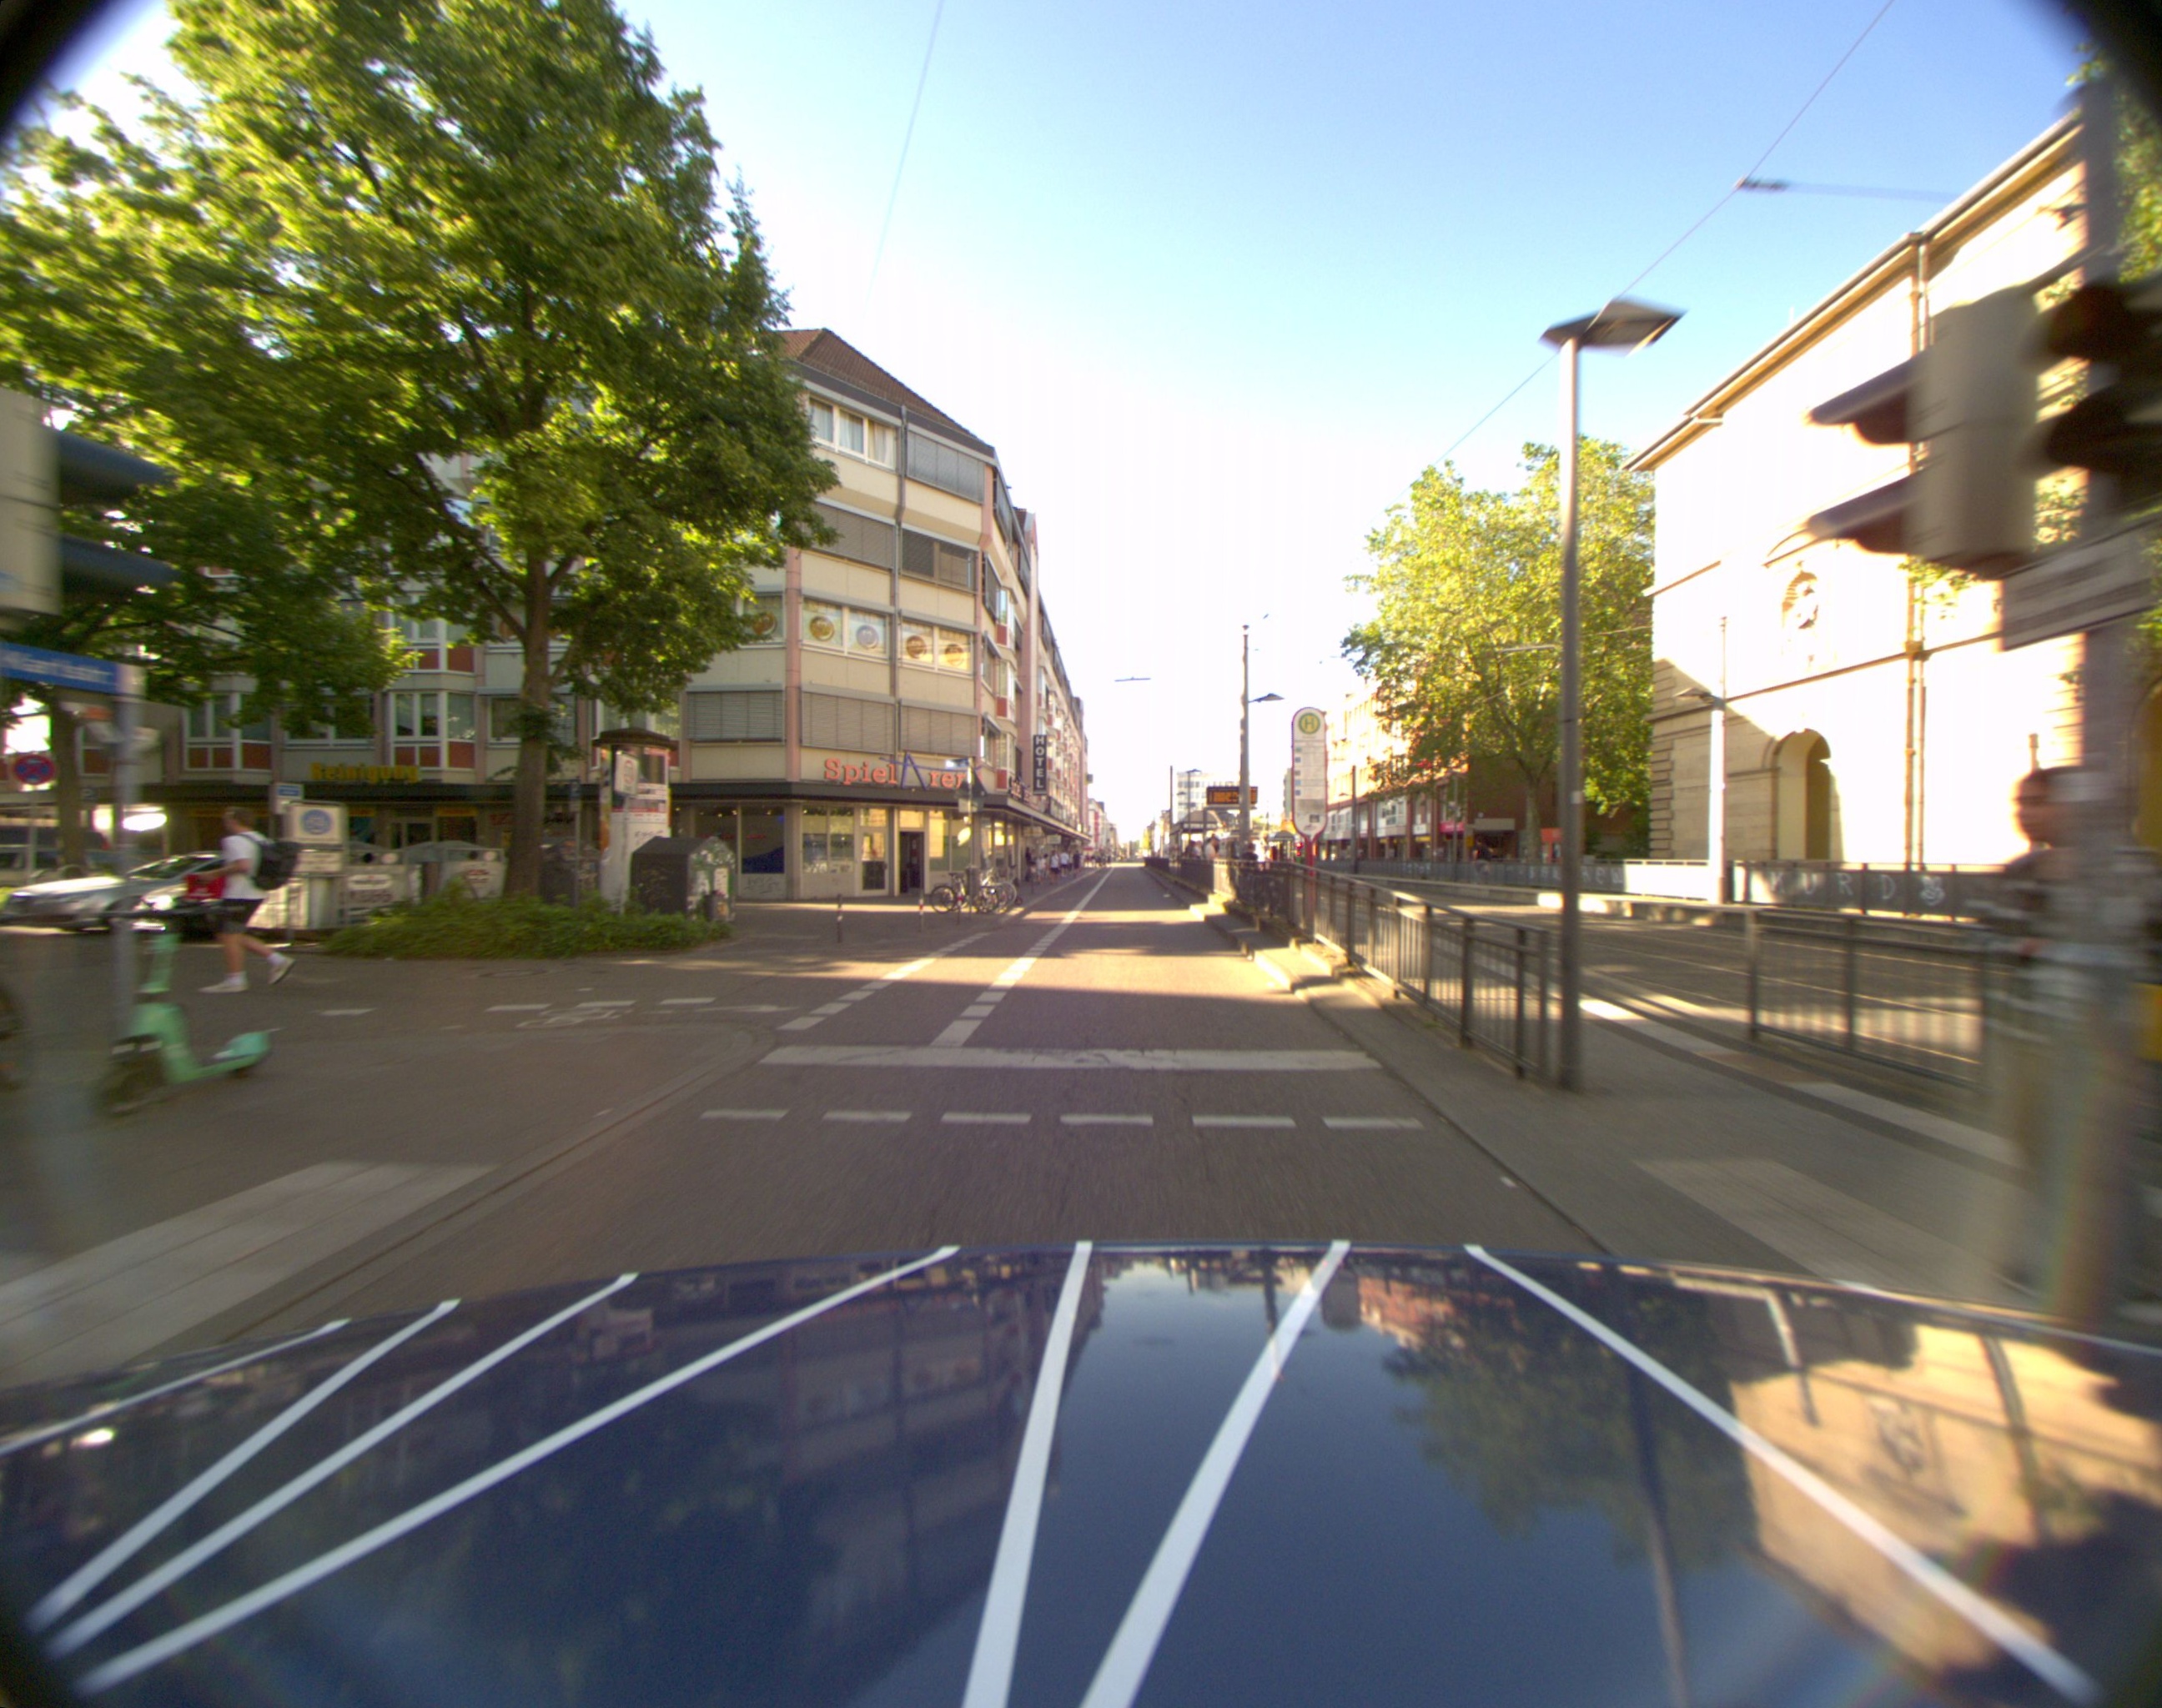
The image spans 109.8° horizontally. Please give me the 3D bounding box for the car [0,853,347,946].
[{"bbox_3d":[-16.700,0.705,14.034,1.995,1.388,4.005,0,1,19],"label":"car"}]

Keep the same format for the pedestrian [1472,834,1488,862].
[{"bbox_3d":[25.994,-0.386,49.490,0.688,1.795,0.648,0,1,3],"label":"pedestrian"}]

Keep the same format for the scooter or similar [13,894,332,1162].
[{"bbox_3d":[-5.409,0.933,4.662,0.392,1.282,1.520,0,1,-12],"label":"scooter or similar"}]

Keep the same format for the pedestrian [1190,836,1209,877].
[{"bbox_3d":[5.016,0.107,32.239,0.691,1.742,0.748,0,1,2],"label":"pedestrian"}]

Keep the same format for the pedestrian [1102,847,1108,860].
[{"bbox_3d":[3.066,-0.028,96.459,0.708,1.604,0.495,0,1,3],"label":"pedestrian"}]

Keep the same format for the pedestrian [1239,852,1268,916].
[{"bbox_3d":[3.621,0.620,15.962,0.480,1.321,0.355,1,1,33],"label":"pedestrian"}]

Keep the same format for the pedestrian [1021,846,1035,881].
[{"bbox_3d":[-2.749,0.480,39.160,0.630,1.759,0.501,1,1,4],"label":"pedestrian"}]

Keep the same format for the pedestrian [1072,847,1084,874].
[{"bbox_3d":[-0.216,0.407,49.391,0.668,1.719,0.810,3,1,3],"label":"pedestrian"}]

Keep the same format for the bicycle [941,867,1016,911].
[{"bbox_3d":[-2.797,0.946,20.777,1.950,1.159,0.628,1,1,2],"label":"bicycle"}]

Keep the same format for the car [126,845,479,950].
[{"bbox_3d":[-13.849,0.647,13.877,1.995,1.593,4.005,0,1,19],"label":"car"}]

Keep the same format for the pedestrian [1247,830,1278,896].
[{"bbox_3d":[4.811,0.244,20.200,0.764,1.724,0.590,0,1,9],"label":"pedestrian"}]

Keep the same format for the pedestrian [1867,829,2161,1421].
[{"bbox_3d":[3.099,0.727,2.385,0.519,1.581,0.667,-3,1,-6],"label":"pedestrian"}]

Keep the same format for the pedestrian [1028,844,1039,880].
[{"bbox_3d":[-2.497,0.427,39.865,0.452,1.839,0.812,1,1,2],"label":"pedestrian"}]

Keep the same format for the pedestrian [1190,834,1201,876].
[{"bbox_3d":[4.507,0.037,29.840,0.352,1.659,0.529,0,1,2],"label":"pedestrian"}]

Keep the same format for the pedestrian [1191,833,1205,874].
[{"bbox_3d":[4.768,-0.033,30.969,0.494,1.639,0.590,0,1,2],"label":"pedestrian"}]

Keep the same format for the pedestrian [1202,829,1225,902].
[{"bbox_3d":[3.864,0.323,22.187,0.539,2.108,0.808,0,1,3],"label":"pedestrian"}]

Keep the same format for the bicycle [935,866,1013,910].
[{"bbox_3d":[-2.811,0.890,20.015,1.950,1.100,0.564,1,1,2],"label":"bicycle"}]

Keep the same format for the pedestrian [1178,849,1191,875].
[{"bbox_3d":[5.065,0.368,37.184,0.541,1.245,0.460,-1,1,2],"label":"pedestrian"}]

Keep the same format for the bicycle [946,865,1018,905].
[{"bbox_3d":[-2.777,0.864,21.430,1.950,1.100,0.564,1,1,2],"label":"bicycle"}]

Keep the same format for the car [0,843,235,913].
[{"bbox_3d":[-22.324,0.460,16.765,1.923,1.394,4.468,0,1,20],"label":"car"}]

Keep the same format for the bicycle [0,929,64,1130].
[{"bbox_3d":[-6.431,1.064,4.205,0.445,1.108,1.809,-1,1,-37],"label":"bicycle"}]

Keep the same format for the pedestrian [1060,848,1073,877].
[{"bbox_3d":[-0.945,0.559,49.021,0.707,1.810,0.763,3,1,2],"label":"pedestrian"}]

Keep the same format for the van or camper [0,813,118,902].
[{"bbox_3d":[-27.008,0.073,18.016,2.085,2.126,4.744,1,1,23],"label":"van or camper"}]

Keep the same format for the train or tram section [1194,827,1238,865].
[{"bbox_3d":[14.256,-0.872,81.440,2.980,3.623,13.946,-1,0,4],"label":"train or tram section"}]

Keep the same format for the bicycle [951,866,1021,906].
[{"bbox_3d":[-2.755,0.914,22.045,1.950,1.100,0.564,1,1,2],"label":"bicycle"}]

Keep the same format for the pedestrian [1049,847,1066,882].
[{"bbox_3d":[-1.150,0.513,37.503,0.746,1.717,0.815,-1,1,4],"label":"pedestrian"}]

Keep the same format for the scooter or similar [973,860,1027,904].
[{"bbox_3d":[-2.406,0.824,22.680,1.482,1.222,0.591,2,1,4],"label":"scooter or similar"}]

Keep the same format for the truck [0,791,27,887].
[{"bbox_3d":[-34.342,-0.439,21.047,2.099,2.895,5.586,1,1,19],"label":"truck"}]

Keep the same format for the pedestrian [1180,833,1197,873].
[{"bbox_3d":[4.782,-0.028,33.833,0.691,1.755,0.748,0,1,2],"label":"pedestrian"}]

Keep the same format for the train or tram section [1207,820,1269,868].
[{"bbox_3d":[13.360,-0.731,66.421,2.980,3.623,16.489,-1,0,4],"label":"train or tram section"}]

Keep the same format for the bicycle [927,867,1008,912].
[{"bbox_3d":[-2.878,0.900,19.368,1.950,1.100,0.564,1,1,2],"label":"bicycle"}]

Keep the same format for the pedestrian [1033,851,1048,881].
[{"bbox_3d":[-1.984,0.586,37.469,0.637,1.475,0.654,3,1,3],"label":"pedestrian"}]

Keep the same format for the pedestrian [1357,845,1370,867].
[{"bbox_3d":[24.273,0.148,65.286,0.791,1.905,0.666,0,1,2],"label":"pedestrian"}]

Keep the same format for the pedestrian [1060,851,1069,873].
[{"bbox_3d":[-1.223,0.543,55.125,0.602,1.581,0.554,1,1,3],"label":"pedestrian"}]

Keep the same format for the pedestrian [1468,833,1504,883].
[{"bbox_3d":[13.714,0.136,25.742,0.697,1.658,1.033,0,1,4],"label":"pedestrian"}]

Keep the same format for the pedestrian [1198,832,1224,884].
[{"bbox_3d":[4.664,0.142,27.332,0.772,1.821,0.804,-1,2,0],"label":"pedestrian"}]

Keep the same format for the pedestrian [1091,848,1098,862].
[{"bbox_3d":[1.527,0.097,86.067,0.667,1.512,0.789,3,1,-2],"label":"pedestrian"}]

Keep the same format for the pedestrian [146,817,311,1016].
[{"bbox_3d":[-8.969,0.613,8.051,0.944,1.973,0.716,0,1,-27],"label":"pedestrian"}]

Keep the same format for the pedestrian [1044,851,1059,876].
[{"bbox_3d":[-1.821,0.572,46.945,0.740,1.464,0.707,3,1,4],"label":"pedestrian"}]
